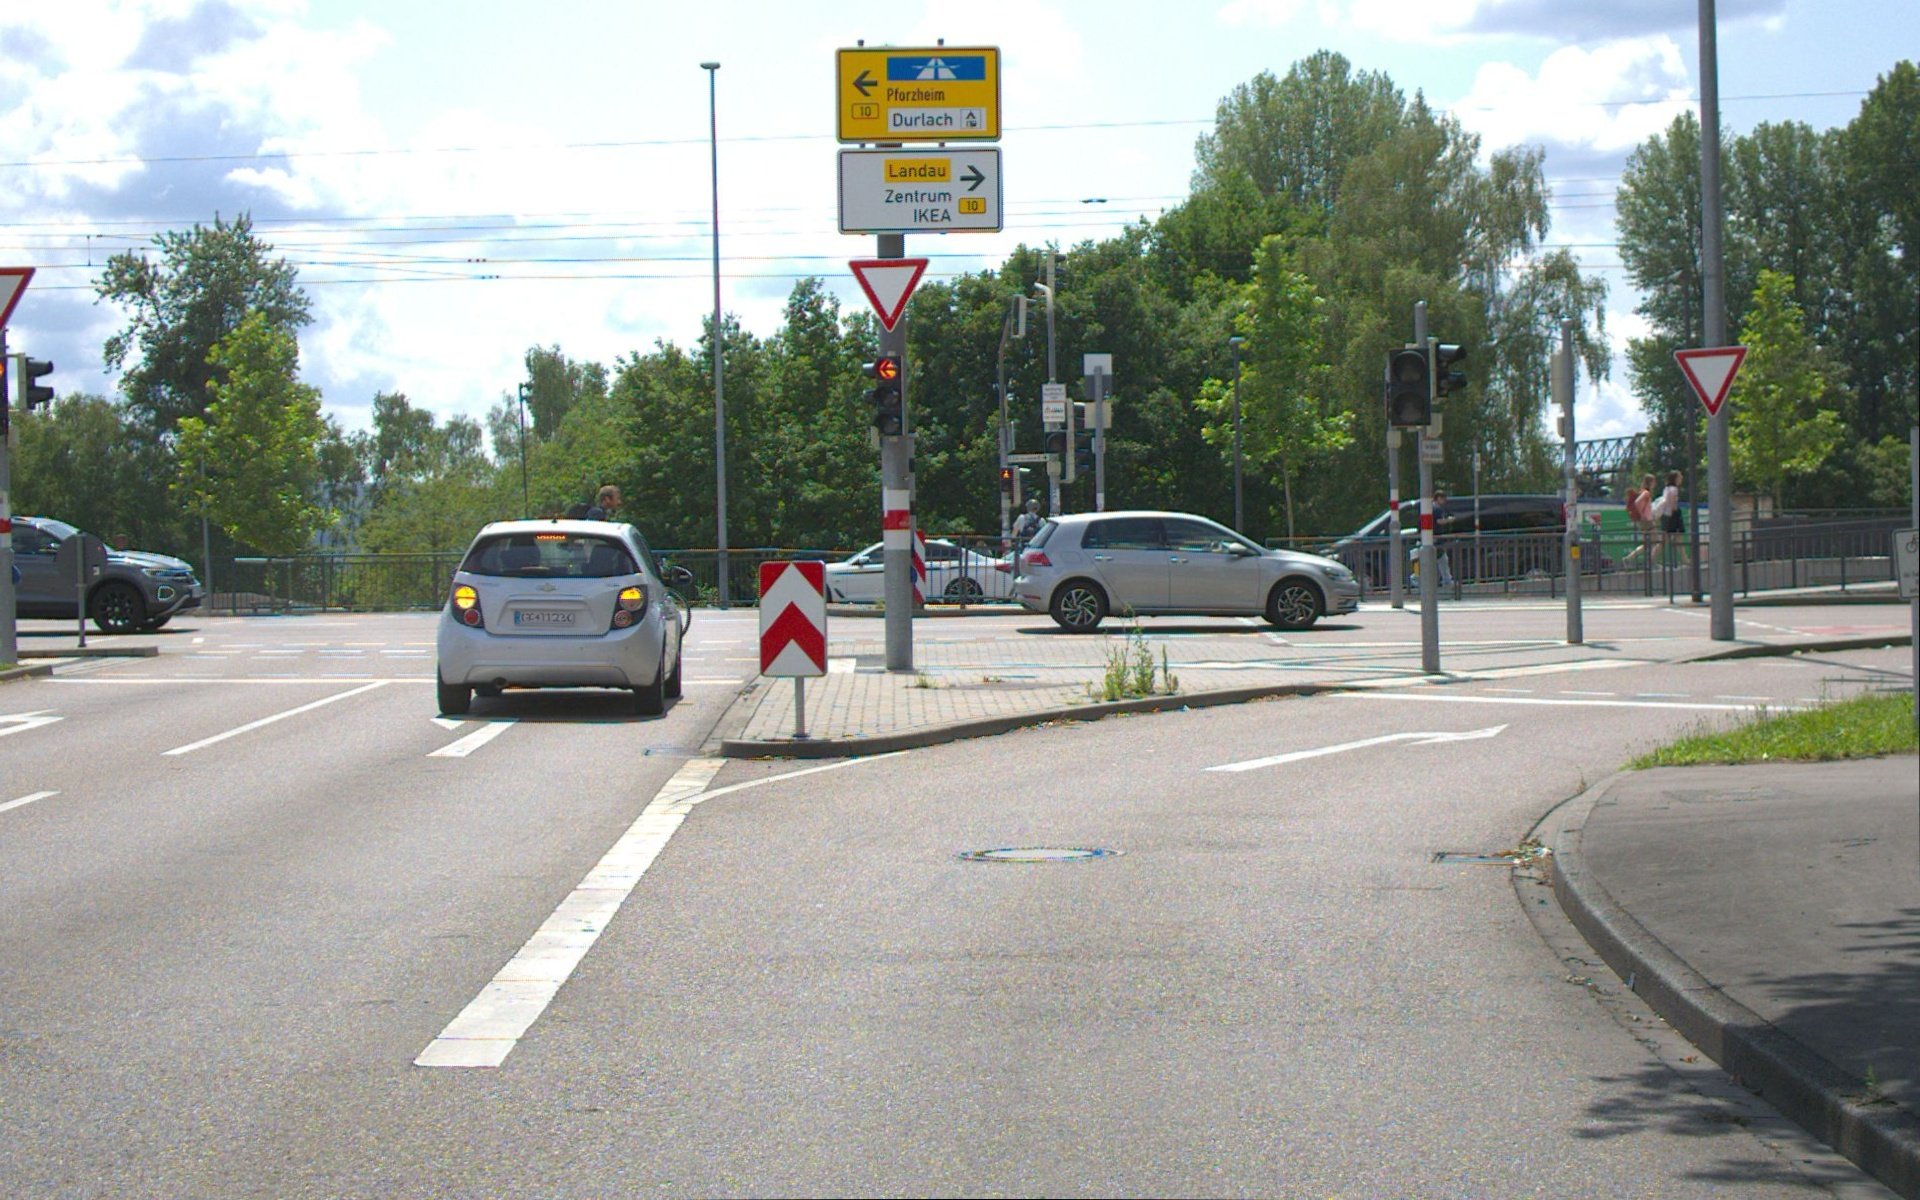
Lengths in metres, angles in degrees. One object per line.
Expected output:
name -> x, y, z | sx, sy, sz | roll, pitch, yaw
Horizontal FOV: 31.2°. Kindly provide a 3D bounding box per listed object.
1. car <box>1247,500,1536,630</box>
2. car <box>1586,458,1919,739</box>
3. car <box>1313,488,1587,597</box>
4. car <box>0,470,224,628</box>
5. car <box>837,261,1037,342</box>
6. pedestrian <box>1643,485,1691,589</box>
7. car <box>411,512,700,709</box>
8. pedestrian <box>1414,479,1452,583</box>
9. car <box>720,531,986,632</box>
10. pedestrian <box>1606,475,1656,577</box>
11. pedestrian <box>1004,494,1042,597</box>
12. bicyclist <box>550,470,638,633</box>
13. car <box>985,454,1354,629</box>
car -> 6.448, -0.535, 51.603 | 3.986, 1.776, 1.910 | -2, 1, -2
car -> 5.408, -0.056, 20.126 | 3.214, 1.526, 1.716 | -2, 1, 4
car -> 8.900, -1.048, 62.737 | 4.651, 1.814, 2.000 | -2, 1, -1
car -> -12.209, -0.654, 45.767 | 4.348, 1.982, 2.000 | -2, 1, -1
car -> -0.512, -6.206, 71.594 | 4.027, 1.459, 1.934 | -2, 1, -3
pedestrian -> 12.005, -1.070, 58.405 | 0.676, 1.742, 0.637 | -1, 3, 2
car -> -3.182, 0.047, 27.732 | 1.894, 1.465, 3.833 | 0, 1, 0
pedestrian -> 7.997, -1.168, 58.100 | 0.523, 1.715, 0.730 | -2, 1, 3
car -> -2.107, -0.377, 68.022 | 5.117, 1.802, 2.000 | -2, 1, -1
pedestrian -> 11.559, -1.278, 59.221 | 0.706, 1.715, 0.601 | -2, 1, 2
pedestrian -> 1.084, -0.952, 59.479 | 0.611, 1.763, 0.672 | -1, 1, 1
bicyclist -> -4.200, -0.557, 39.446 | 0.921, 1.840, 0.611 | -1, 1, -1
car -> 2.542, -0.721, 42.517 | 4.348, 1.982, 2.000 | -2, 1, -1
